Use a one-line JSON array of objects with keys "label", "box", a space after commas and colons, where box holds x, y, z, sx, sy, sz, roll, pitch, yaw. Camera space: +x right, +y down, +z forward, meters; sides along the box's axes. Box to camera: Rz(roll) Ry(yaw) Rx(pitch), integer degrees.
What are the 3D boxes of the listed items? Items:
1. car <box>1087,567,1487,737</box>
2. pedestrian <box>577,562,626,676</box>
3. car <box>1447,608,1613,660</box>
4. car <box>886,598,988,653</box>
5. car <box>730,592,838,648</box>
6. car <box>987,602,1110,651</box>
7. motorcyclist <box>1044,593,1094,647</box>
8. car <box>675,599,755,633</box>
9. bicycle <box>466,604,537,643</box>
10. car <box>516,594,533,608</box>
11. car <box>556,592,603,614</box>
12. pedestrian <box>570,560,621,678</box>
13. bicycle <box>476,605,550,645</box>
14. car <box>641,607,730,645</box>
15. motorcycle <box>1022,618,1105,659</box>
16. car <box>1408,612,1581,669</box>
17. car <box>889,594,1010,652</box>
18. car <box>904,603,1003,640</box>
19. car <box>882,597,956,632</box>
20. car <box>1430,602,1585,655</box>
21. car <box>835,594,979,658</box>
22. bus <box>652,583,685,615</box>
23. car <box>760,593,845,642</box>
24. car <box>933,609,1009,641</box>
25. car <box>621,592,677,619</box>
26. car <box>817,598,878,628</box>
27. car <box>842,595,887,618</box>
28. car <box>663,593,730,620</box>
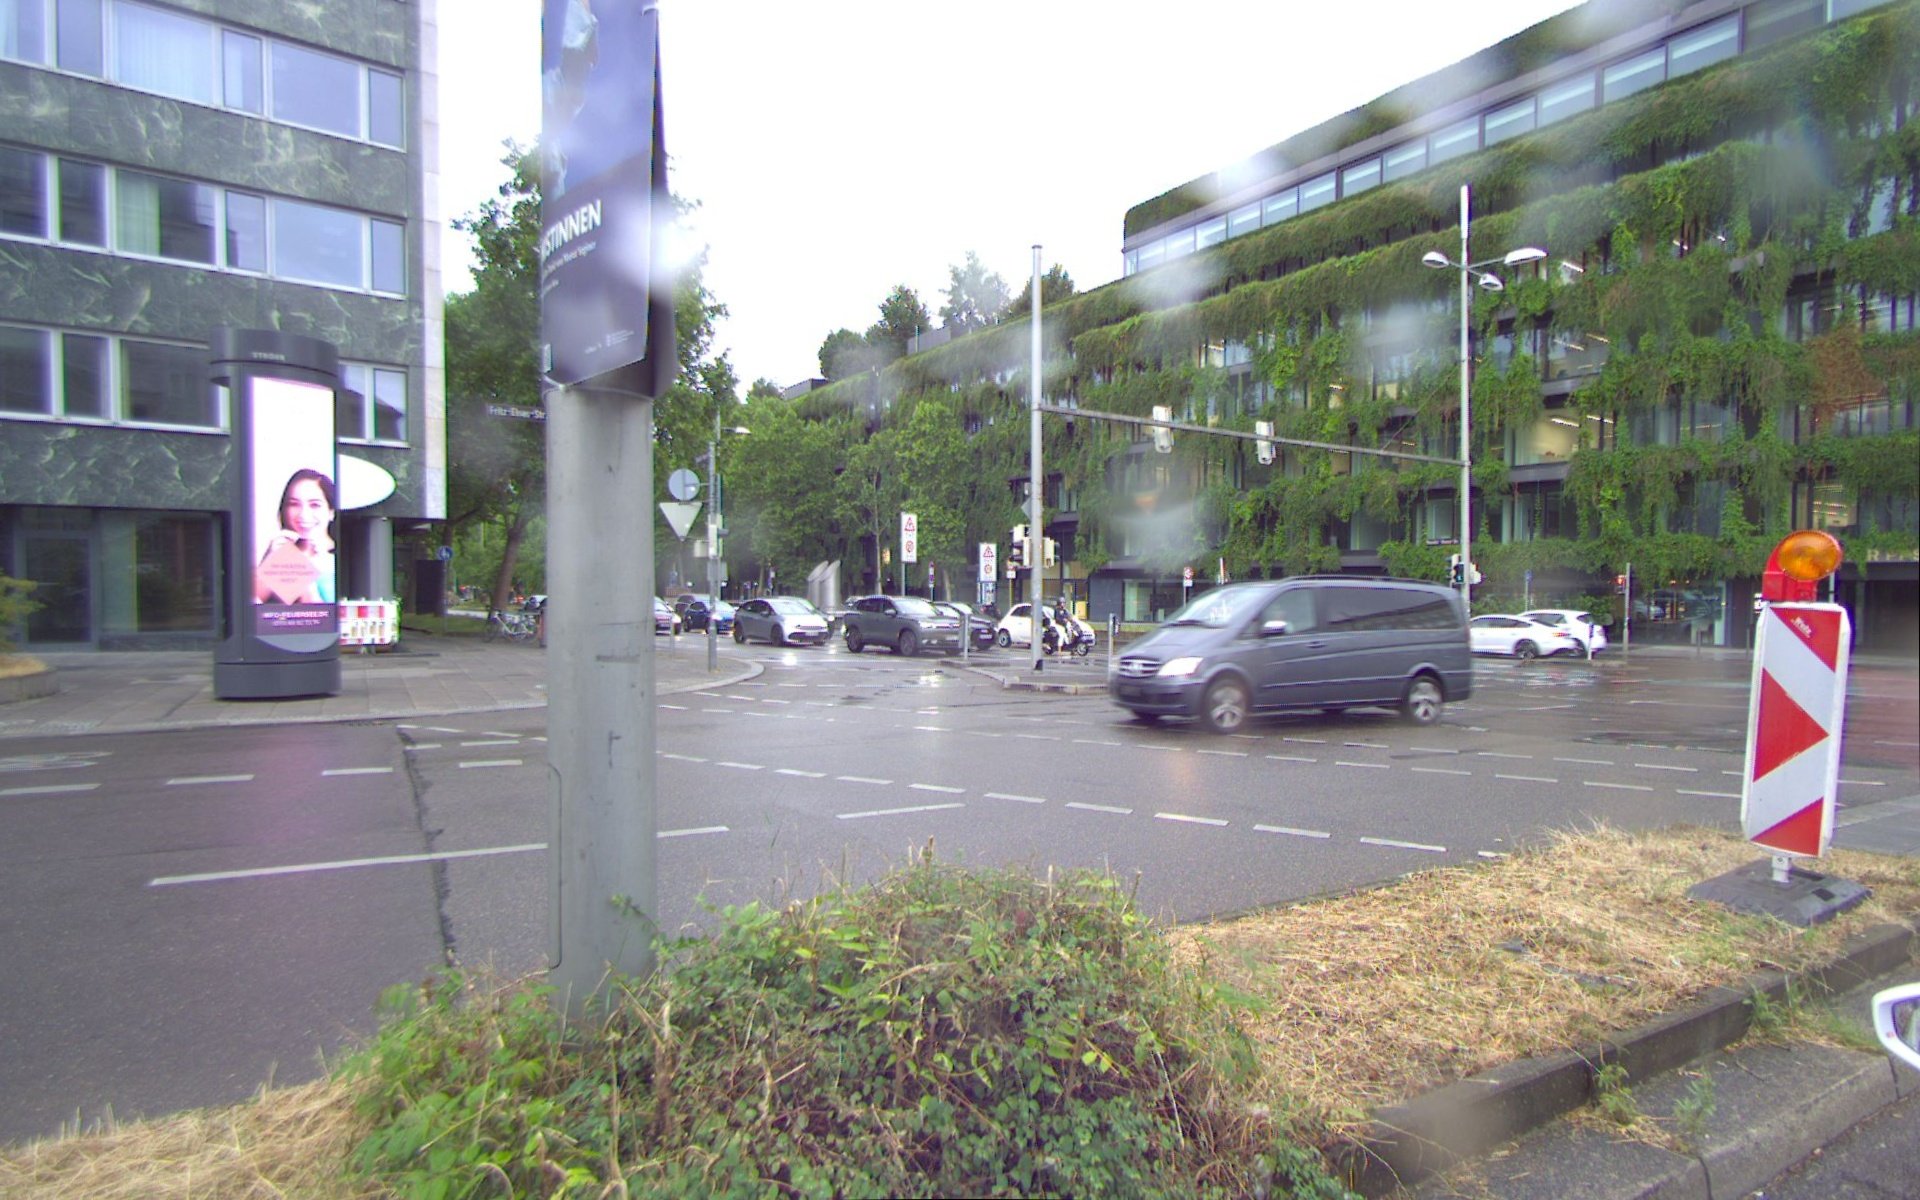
[{"label": "car", "box": [4.337, 0.641, 13.387, 4.889, 1.953, 1.991, 1, 0, -20]}, {"label": "pedestrian", "box": [-6.519, 0.348, 18.295, 0.715, 2.040, 0.598, 1, 0, -10]}, {"label": "car", "box": [19.434, 1.122, 34.389, 1.799, 1.532, 4.636, 2, 0, -45]}, {"label": "car", "box": [-0.925, 0.911, 37.817, 1.978, 1.923, 4.139, 1, 0, -33]}, {"label": "car", "box": [-6.005, 0.633, 34.039, 1.982, 1.773, 3.956, 1, 0, -38]}, {"label": "car", "box": [2.885, 0.854, 33.471, 1.981, 1.495, 3.958, 1, 0, -37]}, {"label": "motorcyclist", "box": [3.147, 0.579, 28.998, 1.153, 1.492, 0.832, 2, 0, 40]}, {"label": "car", "box": [-10.956, 0.690, 44.794, 1.982, 1.389, 4.131, 1, 0, -37]}, {"label": "bicycle", "box": [-12.964, 0.661, 28.415, 1.765, 1.066, 0.581, 1, 0, -35]}, {"label": "car", "box": [-62.753, 0.135, 144.783, 1.975, 2.040, 3.972, 1, 0, -27]}, {"label": "car", "box": [-27.060, 0.190, 71.415, 1.919, 1.544, 4.054, 1, 0, -40]}, {"label": "pedestrian", "box": [-6.400, 0.336, 17.676, 0.715, 2.040, 0.598, 1, 0, -10]}, {"label": "bicycle", "box": [-12.285, 0.677, 27.638, 1.765, 1.066, 0.581, 1, 0, -35]}, {"label": "car", "box": [-10.889, 1.001, 39.628, 1.982, 1.389, 4.131, 1, 0, -37]}, {"label": "motorcycle", "box": [2.978, 1.102, 29.134, 2.331, 1.068, 0.830, 2, 0, 41]}, {"label": "car", "box": [17.235, 1.267, 32.554, 1.799, 1.532, 4.635, 2, 0, -45]}, {"label": "car", "box": [-0.412, 0.706, 32.596, 1.981, 1.773, 3.958, 1, 0, -37]}, {"label": "car", "box": [-0.318, 0.839, 41.094, 1.982, 1.389, 4.131, 1, 0, -37]}, {"label": "car", "box": [-2.181, 0.742, 52.587, 1.837, 1.692, 3.952, 2, 0, -41]}, {"label": "car", "box": [20.051, 1.021, 36.942, 1.798, 1.647, 4.637, 2, 1, -44]}, {"label": "car", "box": [-1.611, 0.699, 29.185, 1.984, 1.709, 4.314, 1, 0, -41]}, {"label": "bus", "box": [-32.014, -0.156, 110.235, 1.783, 3.385, 5.922, 2, 0, -34]}, {"label": "car", "box": [-6.280, 0.659, 39.674, 1.841, 1.791, 4.139, 1, 0, -32]}, {"label": "car", "box": [0.601, 1.444, 57.768, 1.985, 1.660, 4.365, 2, 0, -41]}, {"label": "car", "box": [-18.673, 0.330, 60.212, 1.918, 1.544, 4.057, 1, 0, -38]}, {"label": "car", "box": [-6.613, 0.726, 58.834, 1.834, 1.692, 3.958, 1, 0, -37]}, {"label": "car", "box": [-7.358, 0.487, 77.251, 1.783, 1.588, 3.962, 2, 0, -34]}, {"label": "car", "box": [-13.918, 0.335, 52.928, 1.982, 1.389, 4.131, 1, 0, -37]}]
